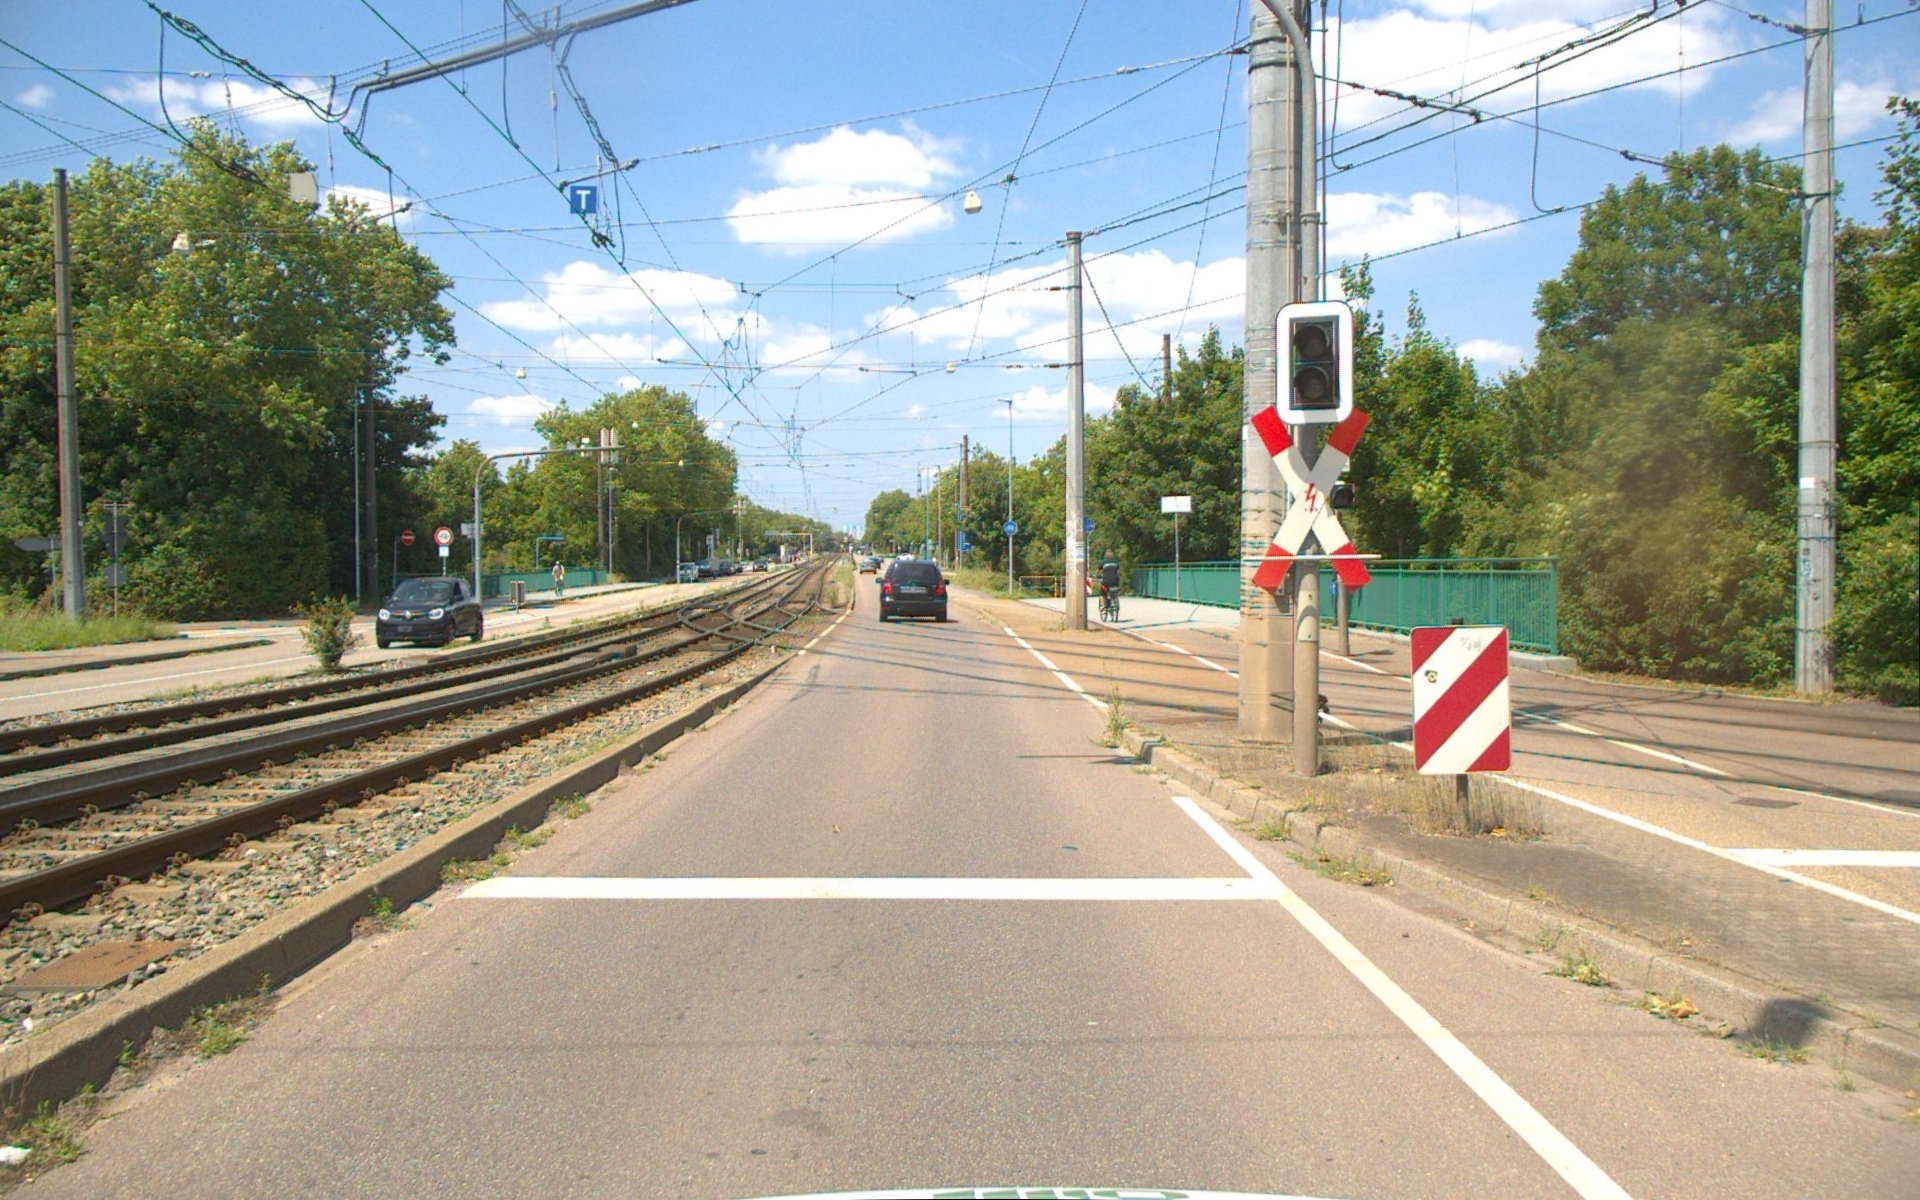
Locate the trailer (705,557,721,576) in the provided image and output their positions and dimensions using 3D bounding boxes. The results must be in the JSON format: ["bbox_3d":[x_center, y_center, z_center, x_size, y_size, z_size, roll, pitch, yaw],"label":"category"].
[{"bbox_3d":[-26.714,-3.639,179.263,1.579,2.048,3.911,1,2,-7],"label":"trailer"}]

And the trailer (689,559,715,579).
[{"bbox_3d":[-24.740,-2.980,158.929,2.415,1.921,5.952,0,1,-8],"label":"trailer"}]

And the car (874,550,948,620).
[{"bbox_3d":[-1.245,-0.428,43.442,1.815,1.597,4.389,1,3,-1],"label":"car"}]

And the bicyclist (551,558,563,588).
[{"bbox_3d":[-20.841,-1.396,85.580,0.447,1.499,0.633,0,1,-2],"label":"bicyclist"}]

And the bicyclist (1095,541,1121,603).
[{"bbox_3d":[3.727,-0.712,41.678,0.573,1.520,0.558,1,2,1],"label":"bicyclist"}]

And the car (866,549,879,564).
[{"bbox_3d":[-12.389,-6.171,234.354,1.751,2.048,3.998,1,3,-4],"label":"car"}]

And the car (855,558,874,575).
[{"bbox_3d":[-10.521,-3.748,182.457,1.846,1.668,4.001,3,2,0],"label":"car"}]

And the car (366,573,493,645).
[{"bbox_3d":[-12.175,0.183,38.182,1.670,1.536,3.733,-1,0,0],"label":"car"}]

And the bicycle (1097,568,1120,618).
[{"bbox_3d":[3.726,-0.178,41.643,0.423,1.172,1.855,1,3,1],"label":"bicycle"}]

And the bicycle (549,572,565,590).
[{"bbox_3d":[-20.844,-0.986,85.534,0.459,0.883,1.742,0,1,-1],"label":"bicycle"}]

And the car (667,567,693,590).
[{"bbox_3d":[-24.240,-1.887,143.290,1.686,1.658,4.613,-3,3,-5],"label":"car"}]

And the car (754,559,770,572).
[{"bbox_3d":[-26.031,-4.537,217.472,1.838,1.750,5.326,0,1,-4],"label":"car"}]

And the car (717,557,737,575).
[{"bbox_3d":[-27.104,-3.969,192.411,1.954,2.049,3.998,-1,1,-3],"label":"car"}]
